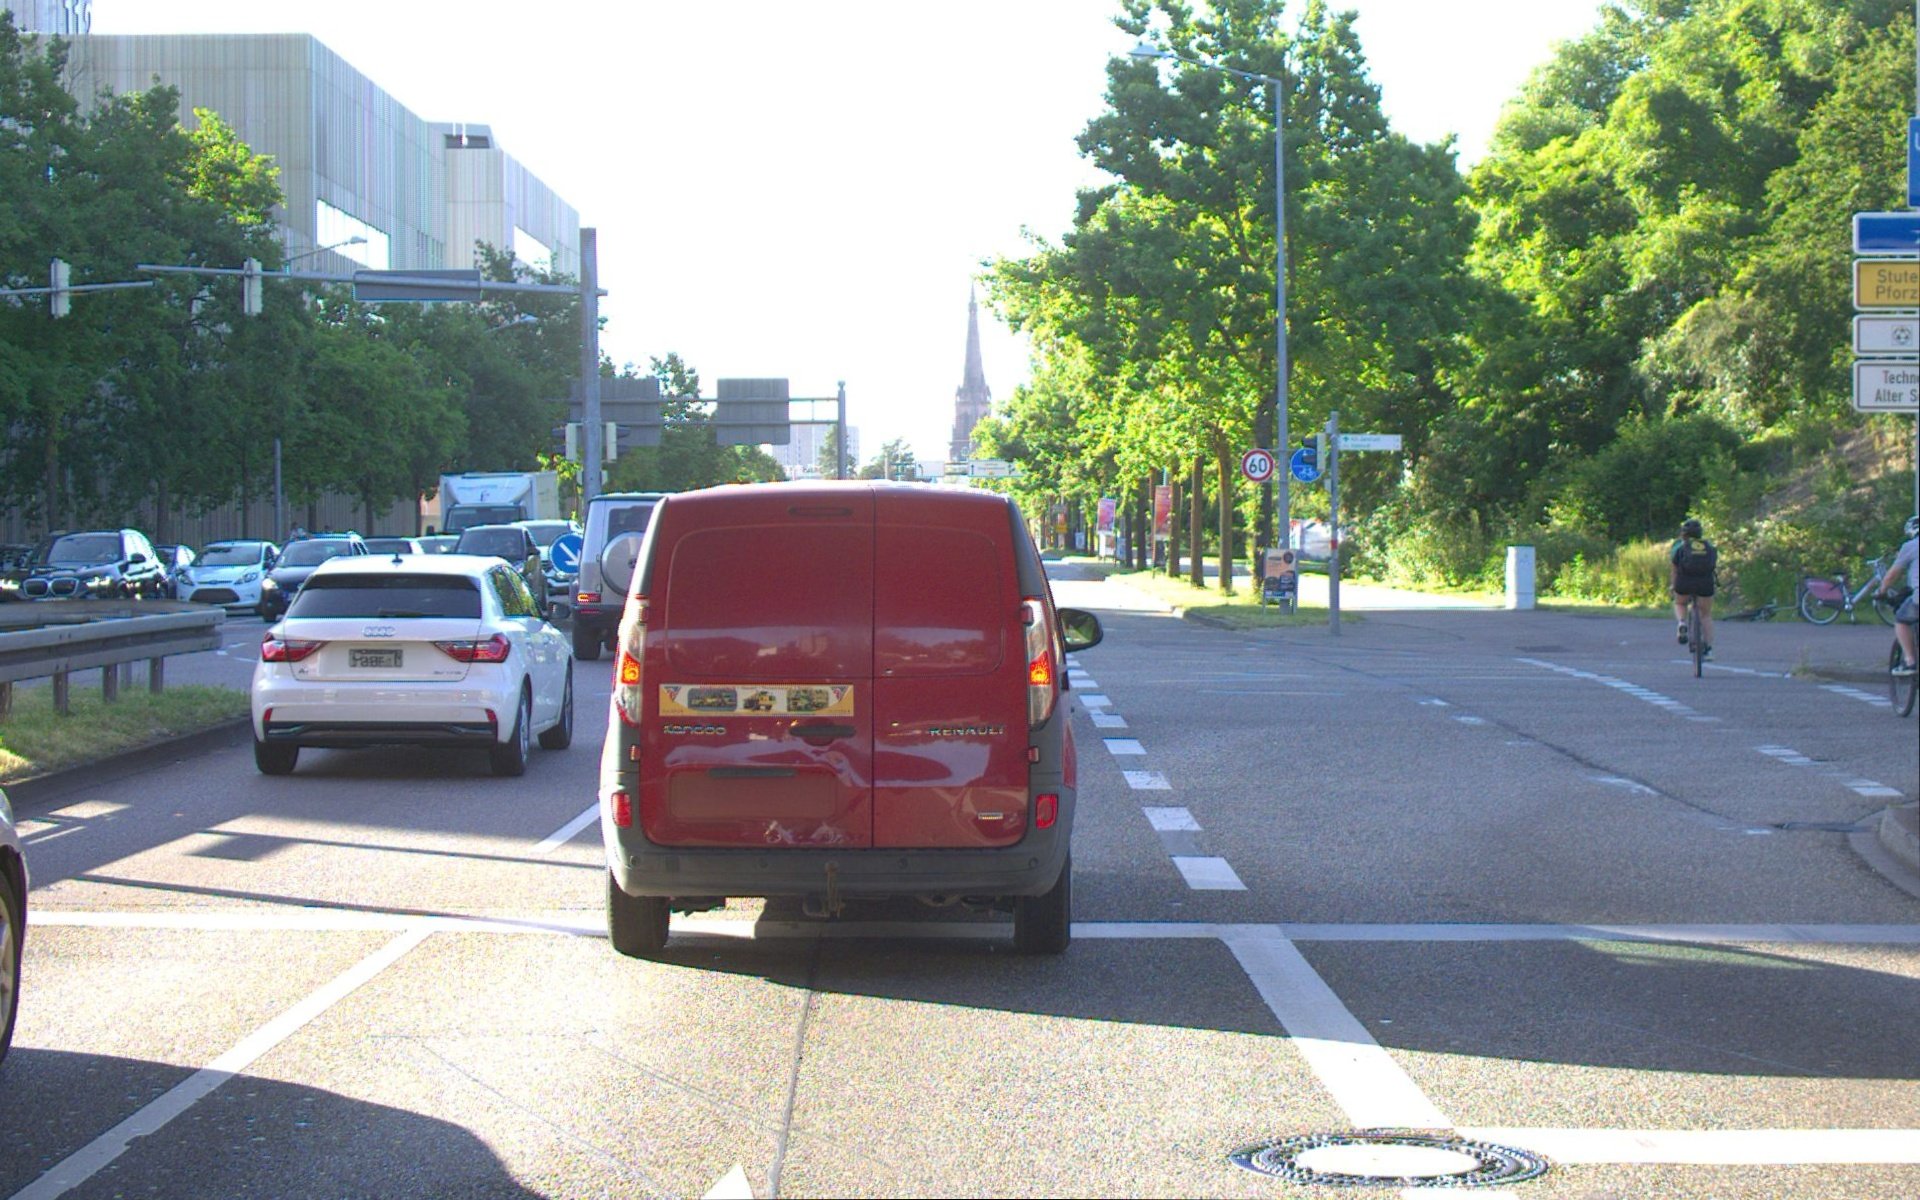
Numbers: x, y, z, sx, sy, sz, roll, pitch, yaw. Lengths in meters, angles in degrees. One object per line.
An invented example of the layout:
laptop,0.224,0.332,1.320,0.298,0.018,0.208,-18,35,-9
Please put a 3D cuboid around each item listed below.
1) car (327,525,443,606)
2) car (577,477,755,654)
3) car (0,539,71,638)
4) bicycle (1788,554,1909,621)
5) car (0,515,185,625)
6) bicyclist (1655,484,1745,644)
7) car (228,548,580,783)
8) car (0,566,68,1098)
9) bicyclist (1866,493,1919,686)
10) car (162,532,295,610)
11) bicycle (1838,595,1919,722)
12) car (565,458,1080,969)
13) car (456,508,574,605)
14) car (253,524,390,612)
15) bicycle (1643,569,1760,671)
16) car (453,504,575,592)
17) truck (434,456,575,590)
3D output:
car,-11.103,-0.669,66.625,1.636,1.438,4.077,-2,1,-2
car,-3.476,-0.381,41.312,1.801,1.982,4.589,1,0,-1
car,-17.715,-0.199,62.659,1.824,1.731,4.529,-2,1,-1
bicycle,13.808,-0.196,53.453,1.745,1.020,0.593,1,0,8
car,-13.957,-0.498,55.387,1.825,1.620,4.529,-2,1,0
bicyclist,7.585,-0.358,35.258,0.591,1.608,0.942,1,0,-8
car,-3.660,0.378,23.220,1.813,1.433,3.731,0,1,-1
car,-3.535,0.647,8.101,1.733,1.475,4.319,0,0,0
bicyclist,7.825,-0.082,27.933,0.591,1.543,0.769,1,-1,-14
car,-14.253,-0.577,67.154,1.646,1.399,3.978,-2,1,1
bicycle,7.840,0.472,27.951,0.591,1.020,1.751,1,0,-14
car,-0.524,0.415,14.214,1.805,1.788,4.000,1,0,-1
car,-8.792,-0.866,68.190,1.757,1.790,4.083,-2,1,0
car,-11.305,-0.568,61.071,1.636,1.438,4.077,-2,1,0
bicycle,7.593,0.205,35.259,0.591,1.020,1.751,1,0,-8
car,-7.878,-0.917,60.959,1.636,1.438,3.719,-2,1,0
truck,-10.909,-1.826,82.917,2.409,3.016,6.657,-2,1,0
